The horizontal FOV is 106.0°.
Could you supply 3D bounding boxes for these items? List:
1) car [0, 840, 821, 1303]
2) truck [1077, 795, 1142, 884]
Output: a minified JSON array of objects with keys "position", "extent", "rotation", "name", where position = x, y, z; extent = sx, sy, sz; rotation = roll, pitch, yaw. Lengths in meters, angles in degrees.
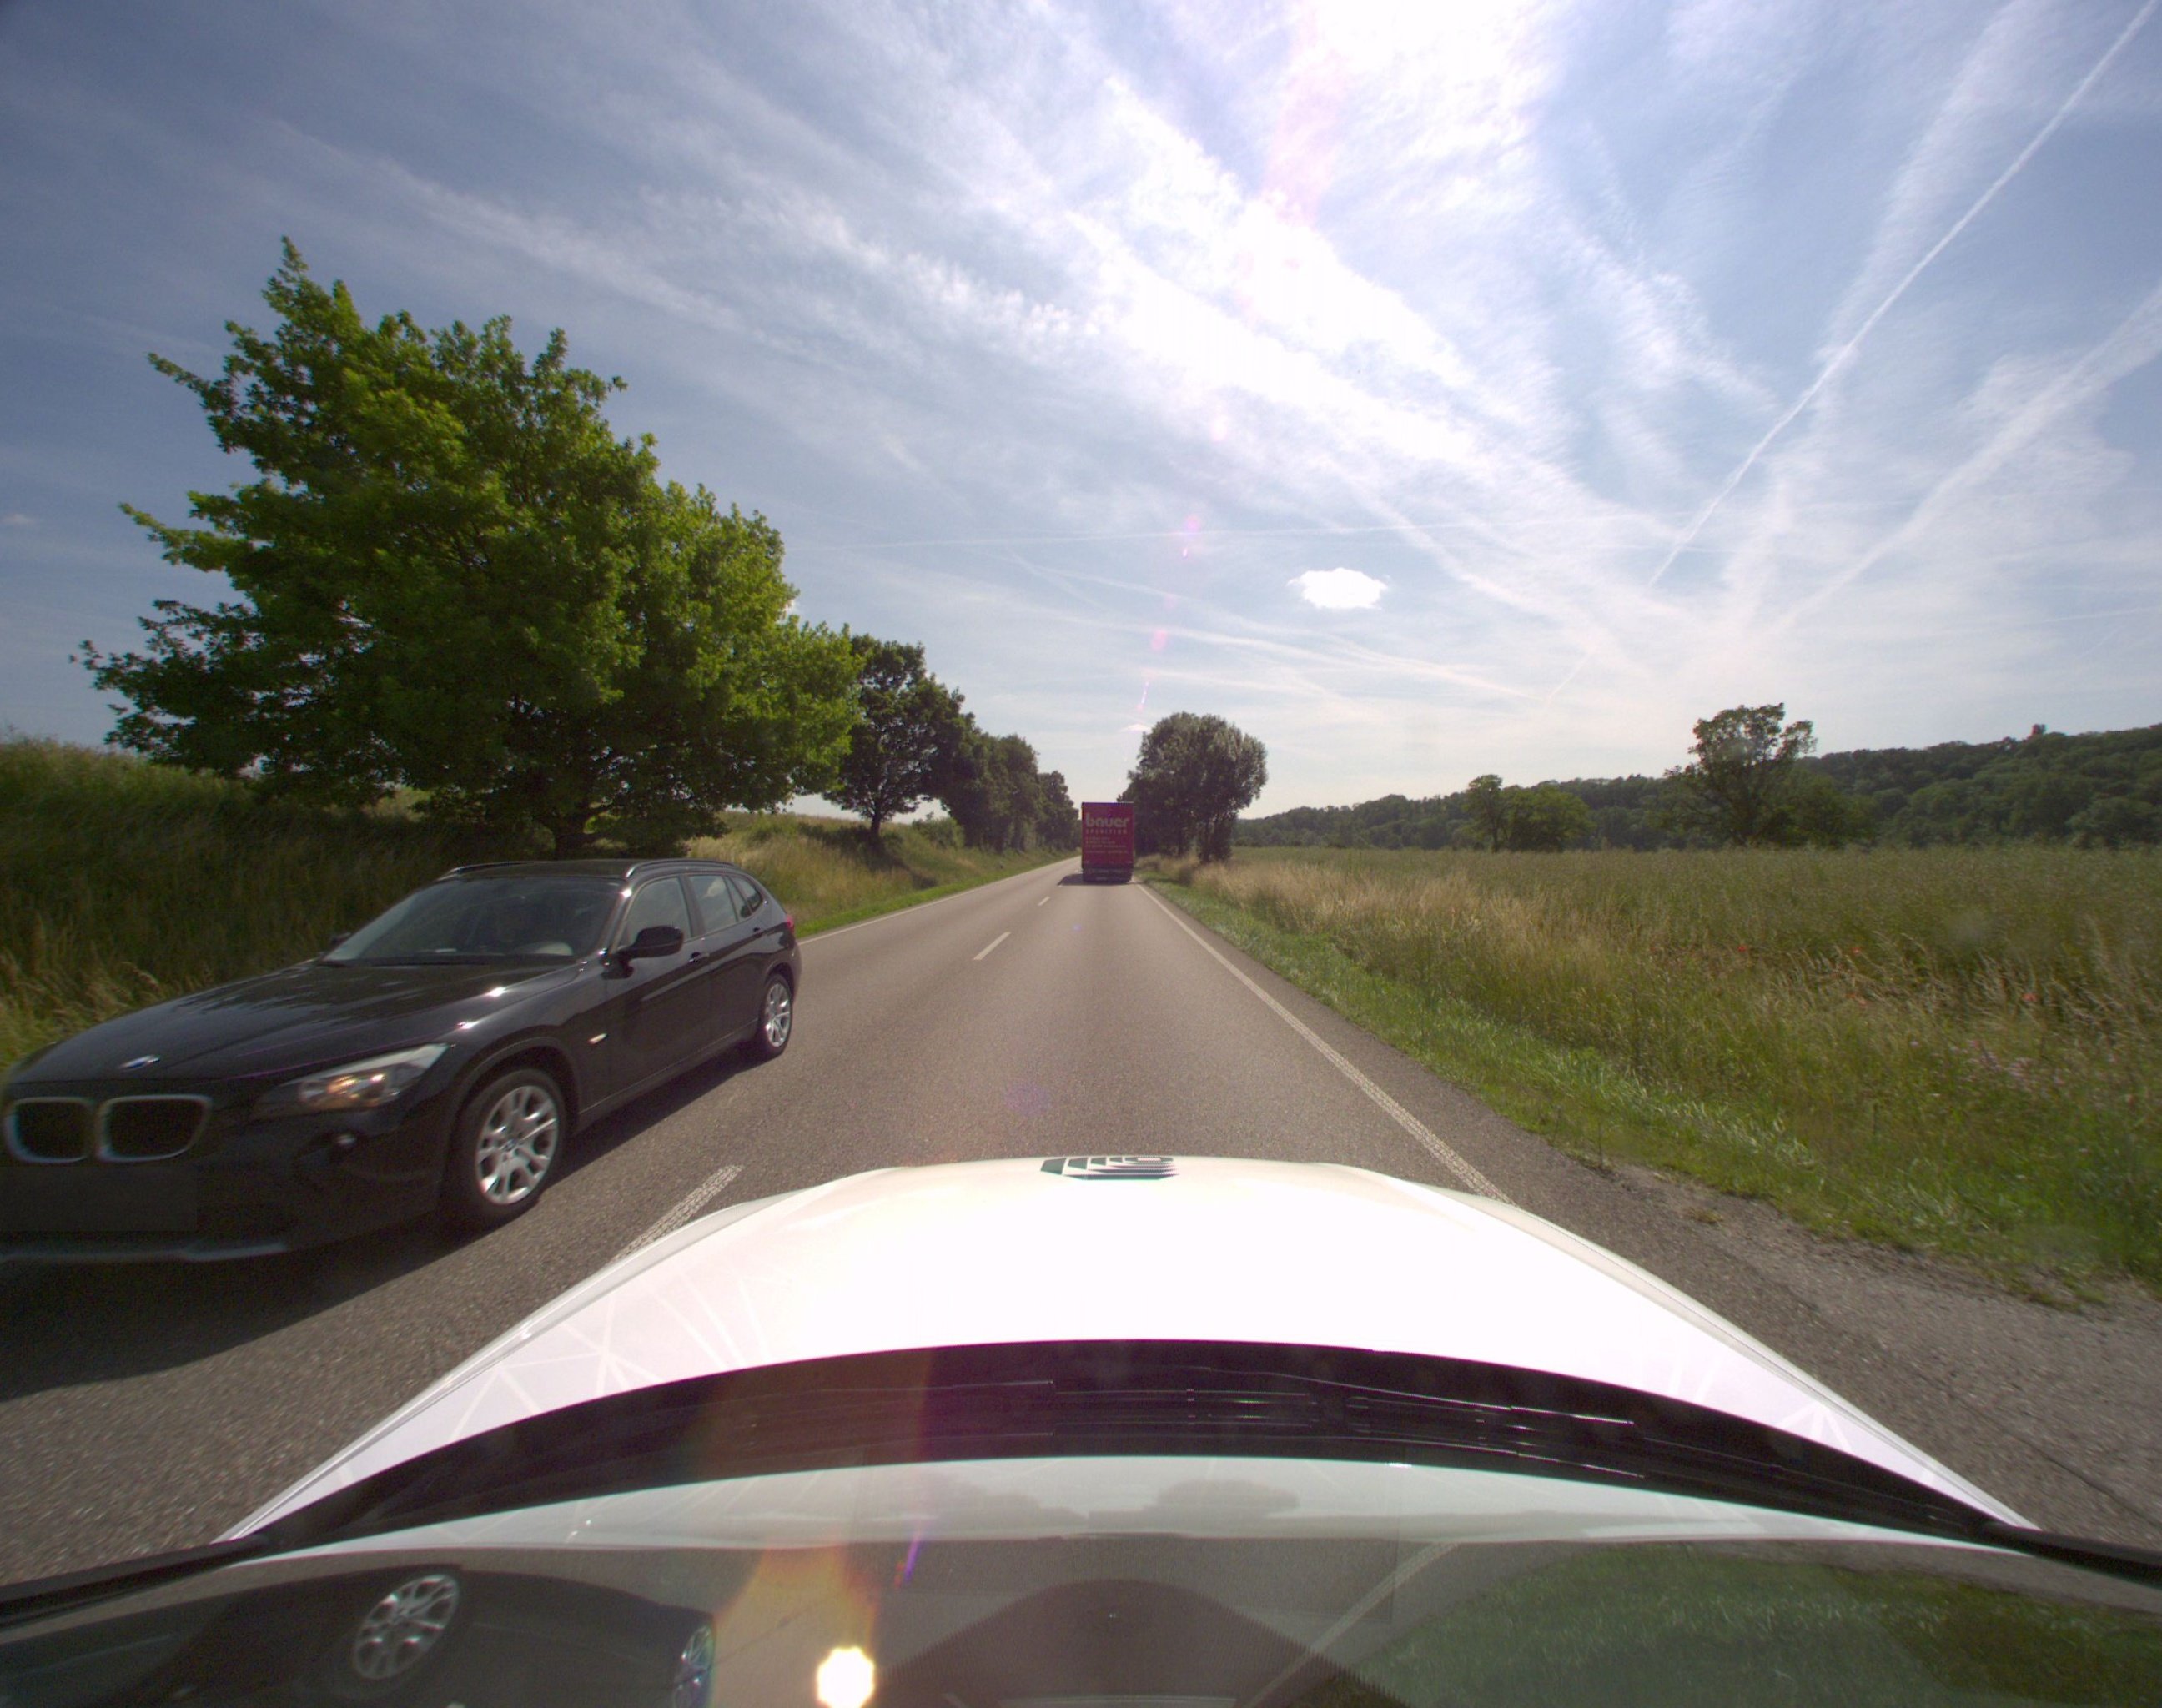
[{"position":[-3.172,0.731,4.930],"extent":[1.650,1.534,4.360],"rotation":[-1,0,1],"name":"car"},{"position":[1.591,-0.738,43.185],"extent":[3.081,4.262,8.321],"rotation":[0,0,3],"name":"truck"}]
